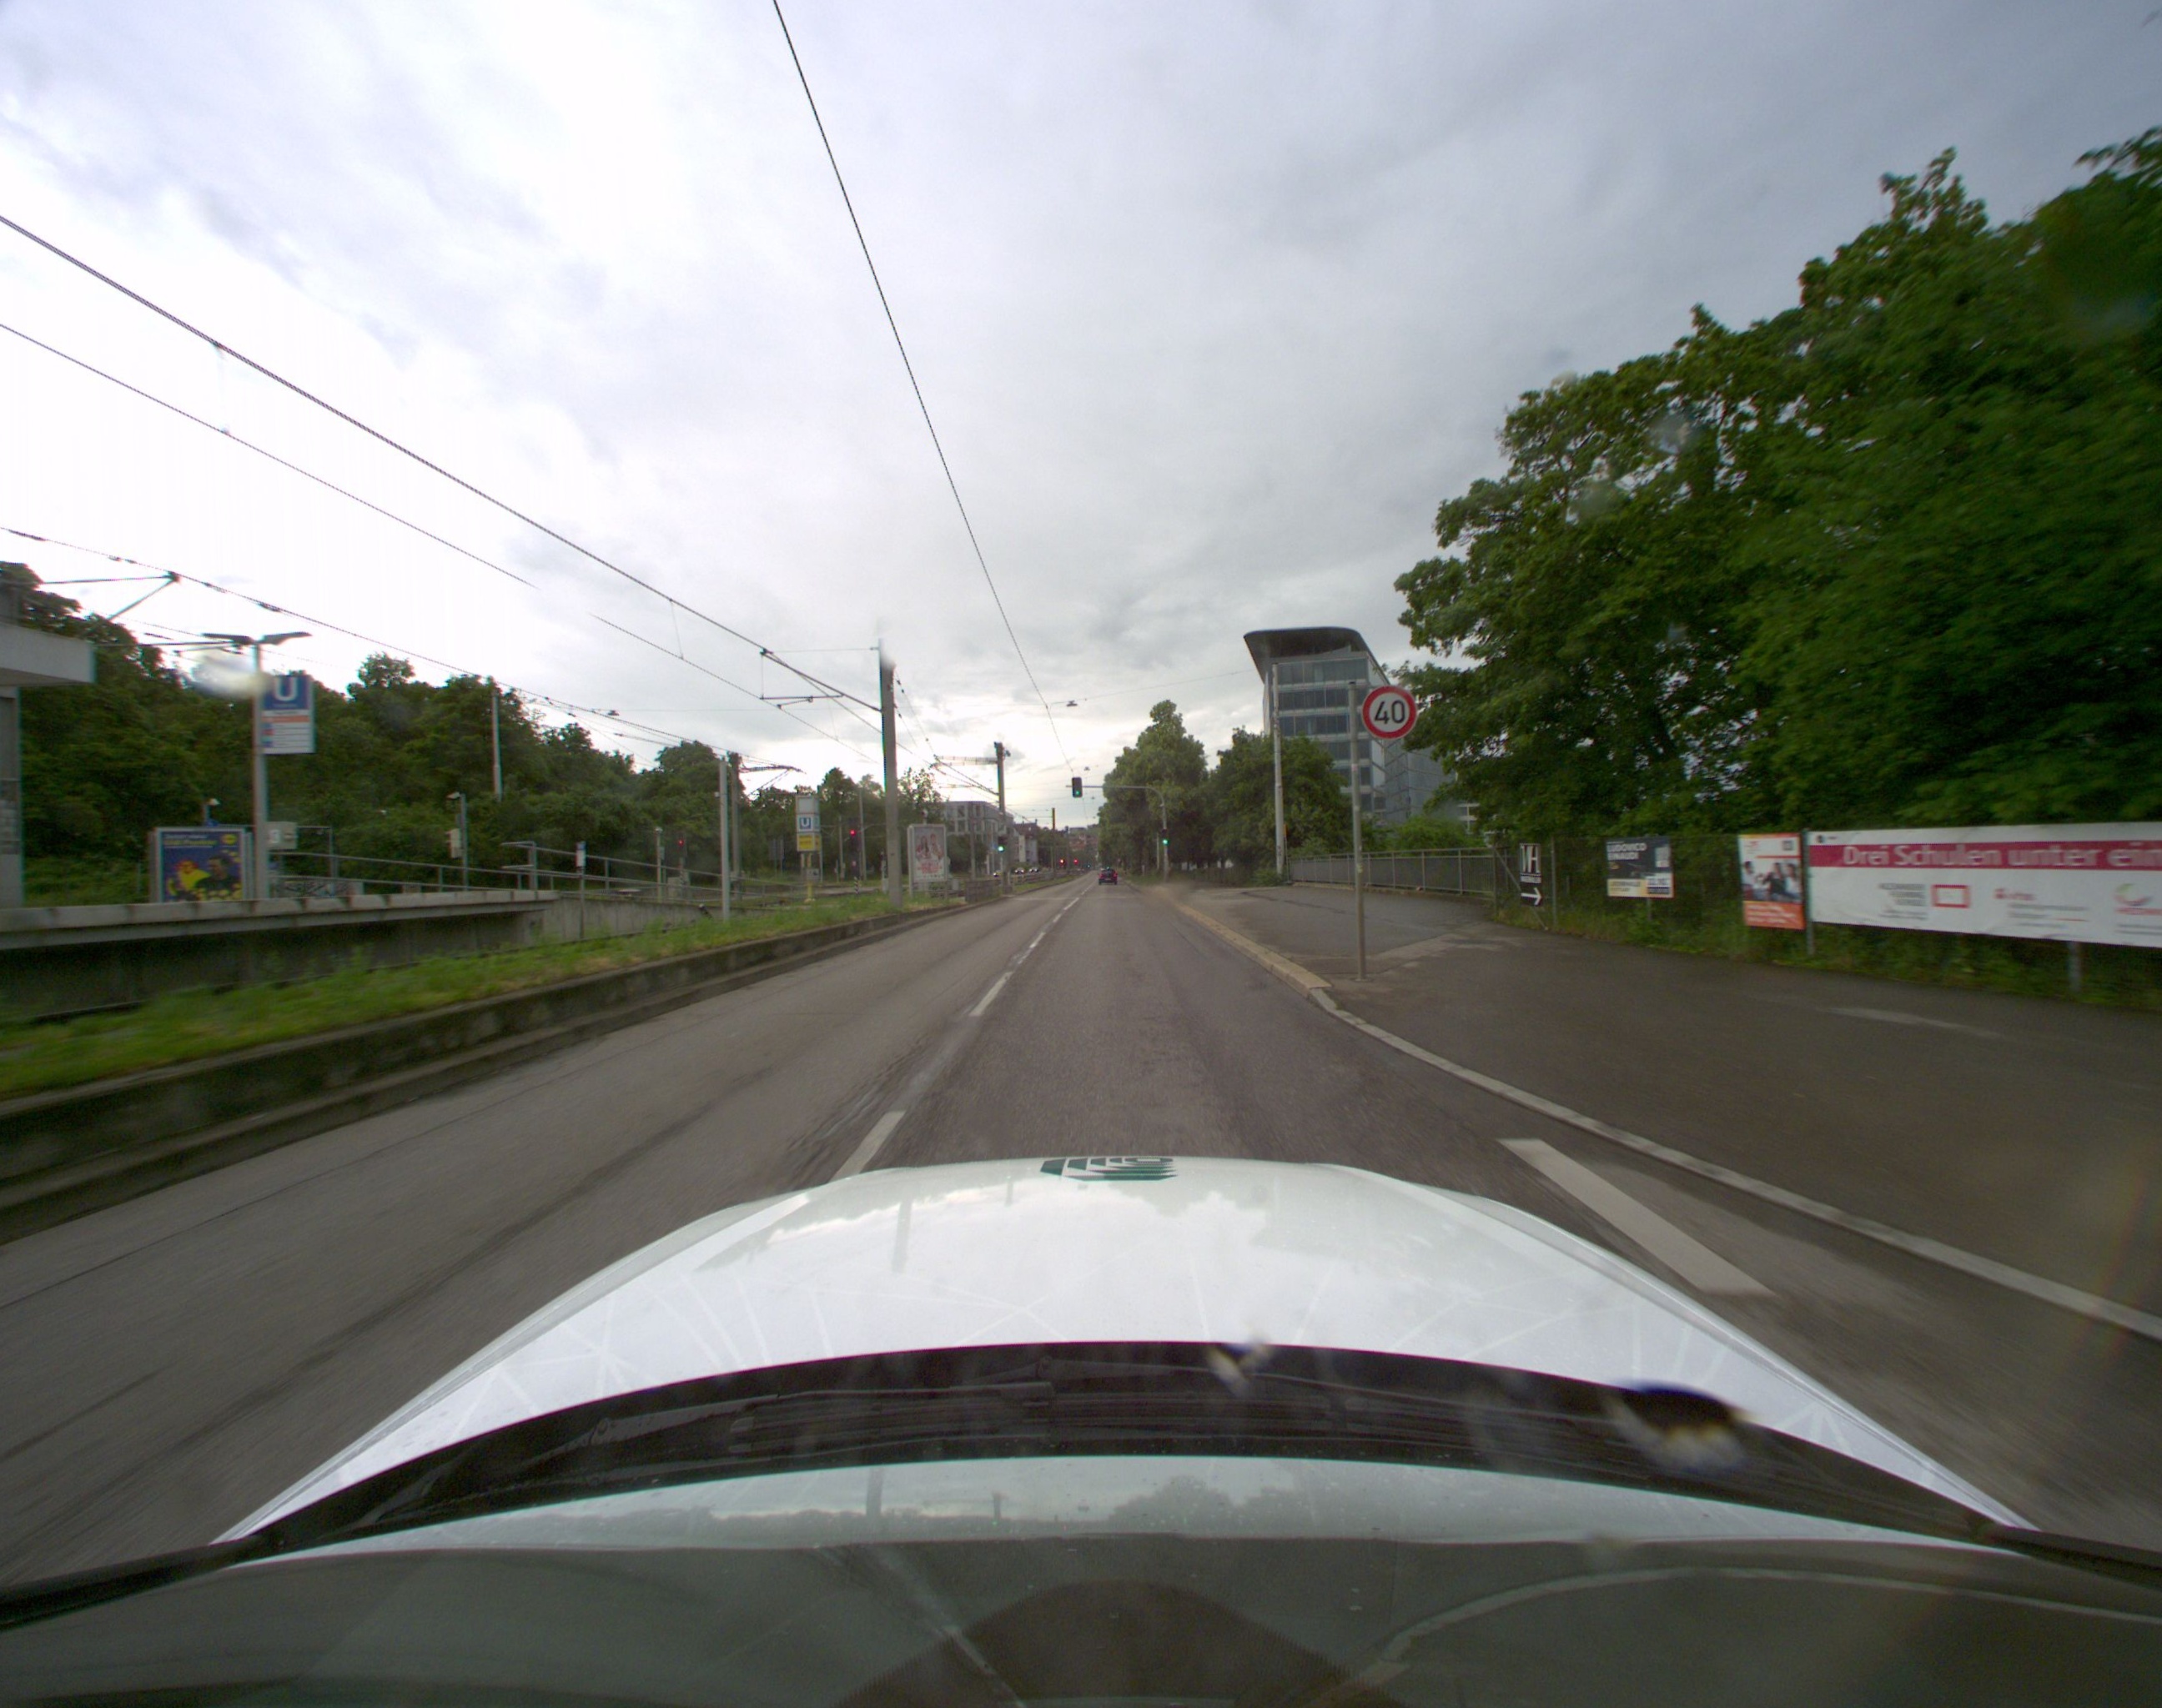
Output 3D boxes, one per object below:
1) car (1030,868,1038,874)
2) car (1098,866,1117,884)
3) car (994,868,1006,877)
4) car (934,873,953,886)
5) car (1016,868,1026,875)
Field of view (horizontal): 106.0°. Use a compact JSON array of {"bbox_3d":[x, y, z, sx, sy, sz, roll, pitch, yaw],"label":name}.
[{"bbox_3d":[-12.888,4.672,224.075,1.644,1.631,3.616,1,2,6],"label":"car"},{"bbox_3d":[2.387,1.896,74.090,1.720,1.541,4.001,0,0,1],"label":"car"},{"bbox_3d":[-16.626,3.874,167.288,1.840,1.631,3.616,1,2,6],"label":"car"},{"bbox_3d":[-20.478,3.752,121.172,1.840,1.631,3.819,1,2,6],"label":"car"},{"bbox_3d":[-14.620,4.283,197.573,1.840,1.631,3.616,1,2,6],"label":"car"}]
